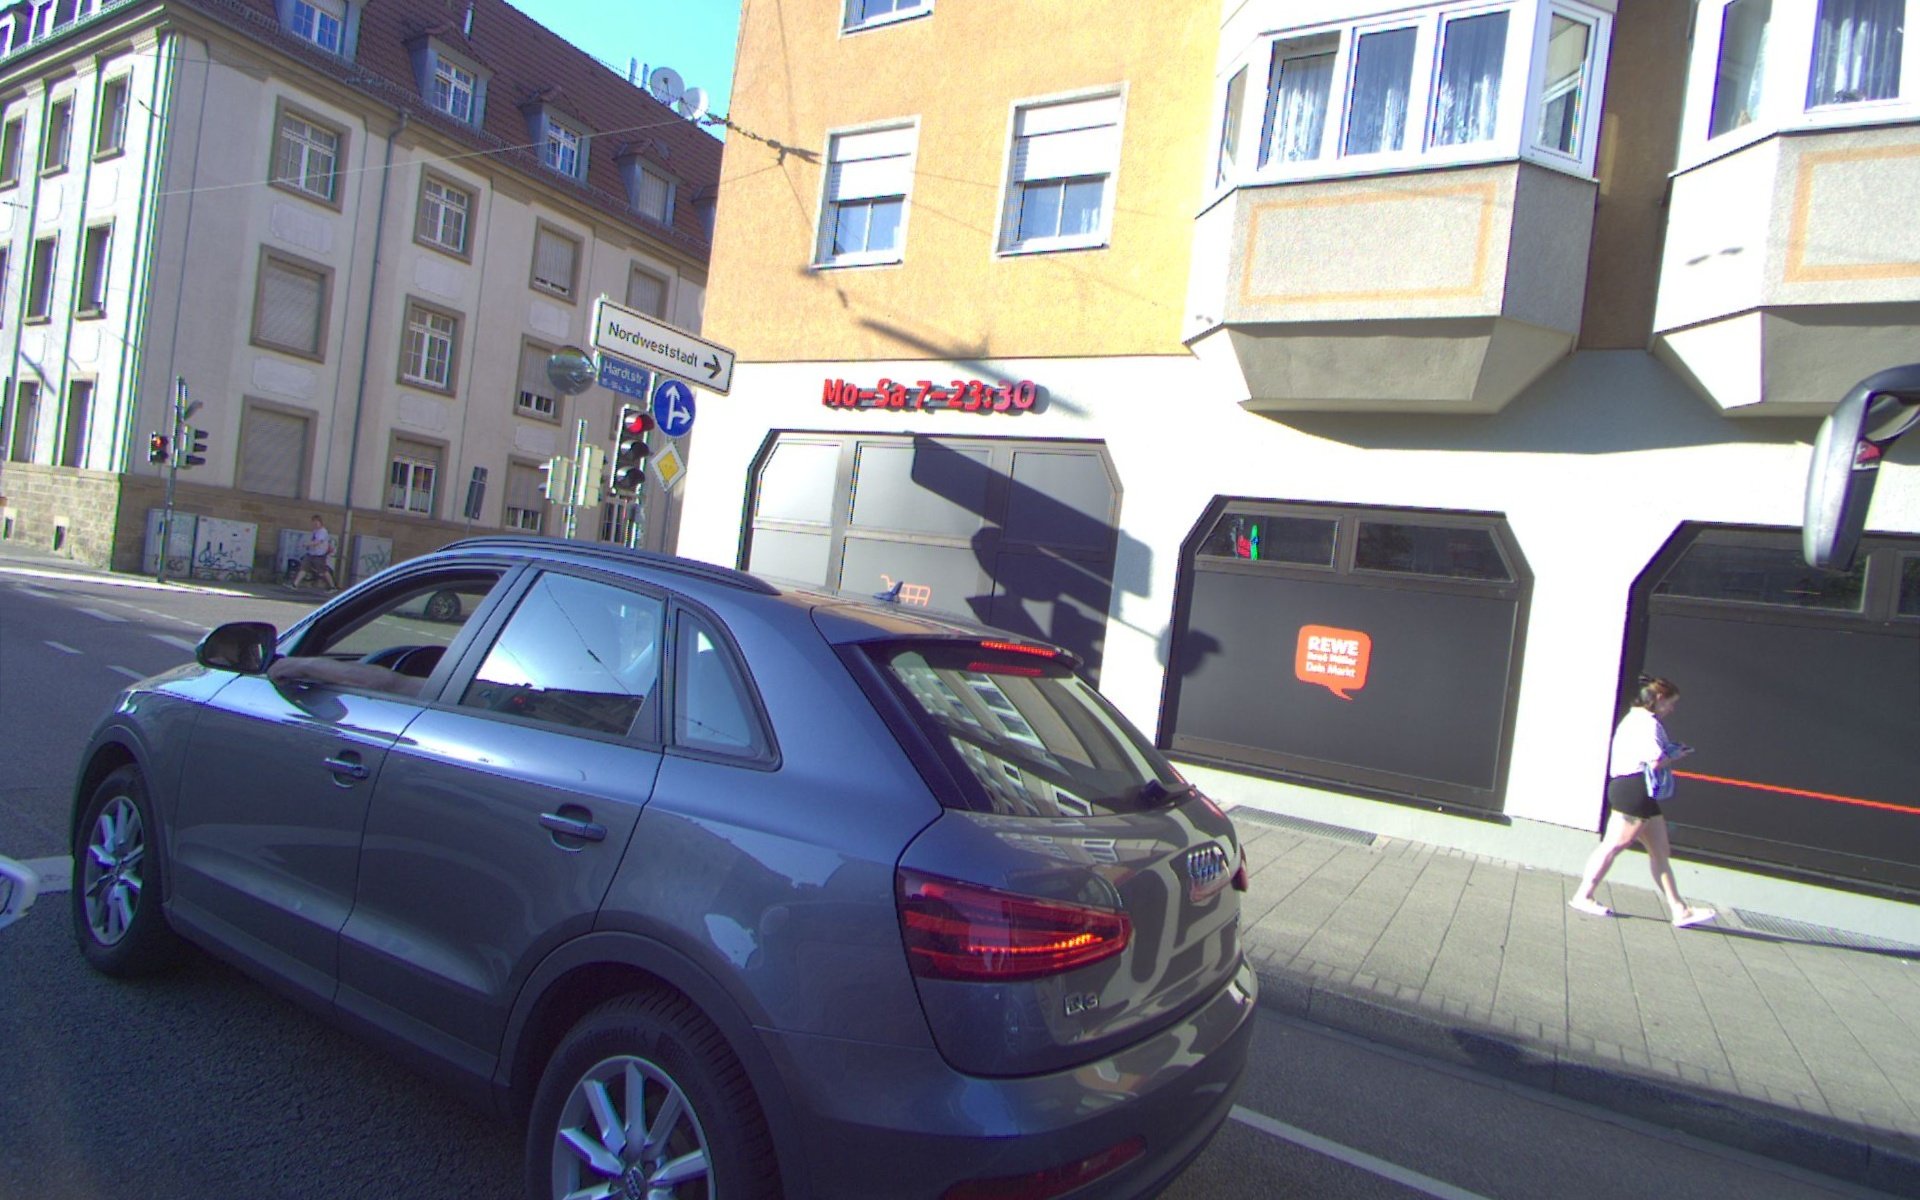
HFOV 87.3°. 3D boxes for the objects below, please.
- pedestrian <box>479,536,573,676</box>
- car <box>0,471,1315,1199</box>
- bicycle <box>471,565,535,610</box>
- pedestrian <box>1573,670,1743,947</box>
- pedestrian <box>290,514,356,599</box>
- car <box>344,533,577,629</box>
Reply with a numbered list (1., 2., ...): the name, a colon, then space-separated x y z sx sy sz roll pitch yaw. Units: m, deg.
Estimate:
1. pedestrian: -5.918 0.087 13.728 0.812 1.778 0.630 6 -1 32
2. car: -1.250 0.611 3.303 4.155 1.570 1.701 7 -2 32
3. bicycle: -12.472 -0.337 27.493 1.499 1.029 0.247 9 -2 -43
4. pedestrian: 4.479 1.292 6.507 0.656 1.603 0.580 7 1 26
5. pedestrian: -14.600 -0.995 23.069 0.810 1.782 0.837 6 -1 31
6. car: -10.738 -0.357 21.893 1.968 1.583 3.990 6 -1 34
